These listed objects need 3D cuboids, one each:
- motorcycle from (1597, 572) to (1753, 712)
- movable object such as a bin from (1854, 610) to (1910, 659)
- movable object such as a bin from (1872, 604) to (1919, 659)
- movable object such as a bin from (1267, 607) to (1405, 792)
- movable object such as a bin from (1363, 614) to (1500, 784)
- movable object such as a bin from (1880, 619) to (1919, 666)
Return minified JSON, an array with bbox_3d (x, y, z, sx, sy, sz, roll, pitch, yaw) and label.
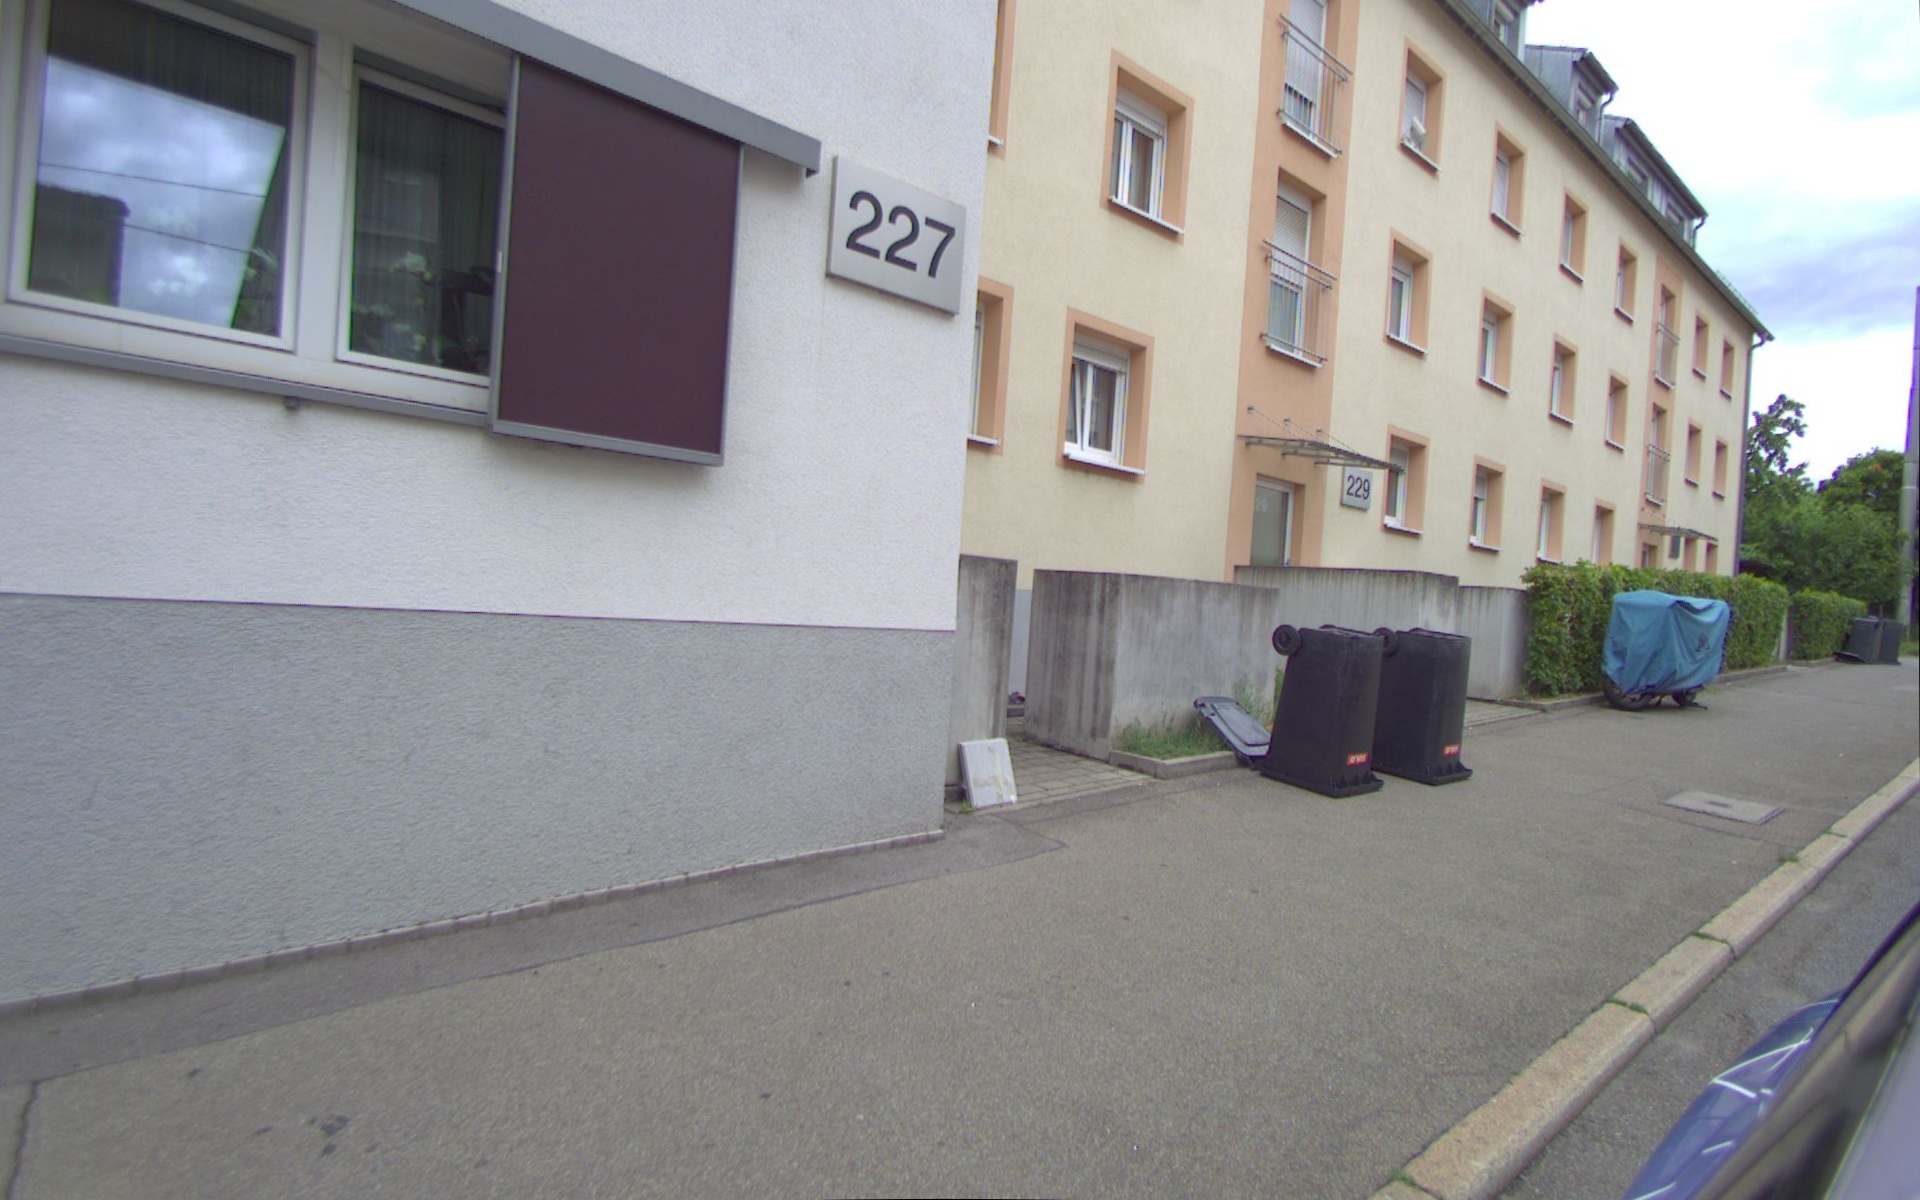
[{"bbox_3d":[8.498,0.449,11.982,2.507,1.474,0.840,1,2,-40],"label":"motorcycle"},{"bbox_3d":[21.014,0.773,23.058,0.775,1.024,0.794,1,2,-39],"label":"movable object such as a bin"},{"bbox_3d":[22.402,0.736,24.192,0.776,1.233,0.793,1,2,-44],"label":"movable object such as a bin"},{"bbox_3d":[2.437,0.610,6.573,0.531,1.093,0.613,1,2,-39],"label":"movable object such as a bin"},{"bbox_3d":[3.328,0.662,7.151,0.679,1.093,0.590,1,2,-39],"label":"movable object such as a bin"},{"bbox_3d":[21.884,0.973,23.427,0.776,1.024,0.793,1,2,-44],"label":"movable object such as a bin"}]
